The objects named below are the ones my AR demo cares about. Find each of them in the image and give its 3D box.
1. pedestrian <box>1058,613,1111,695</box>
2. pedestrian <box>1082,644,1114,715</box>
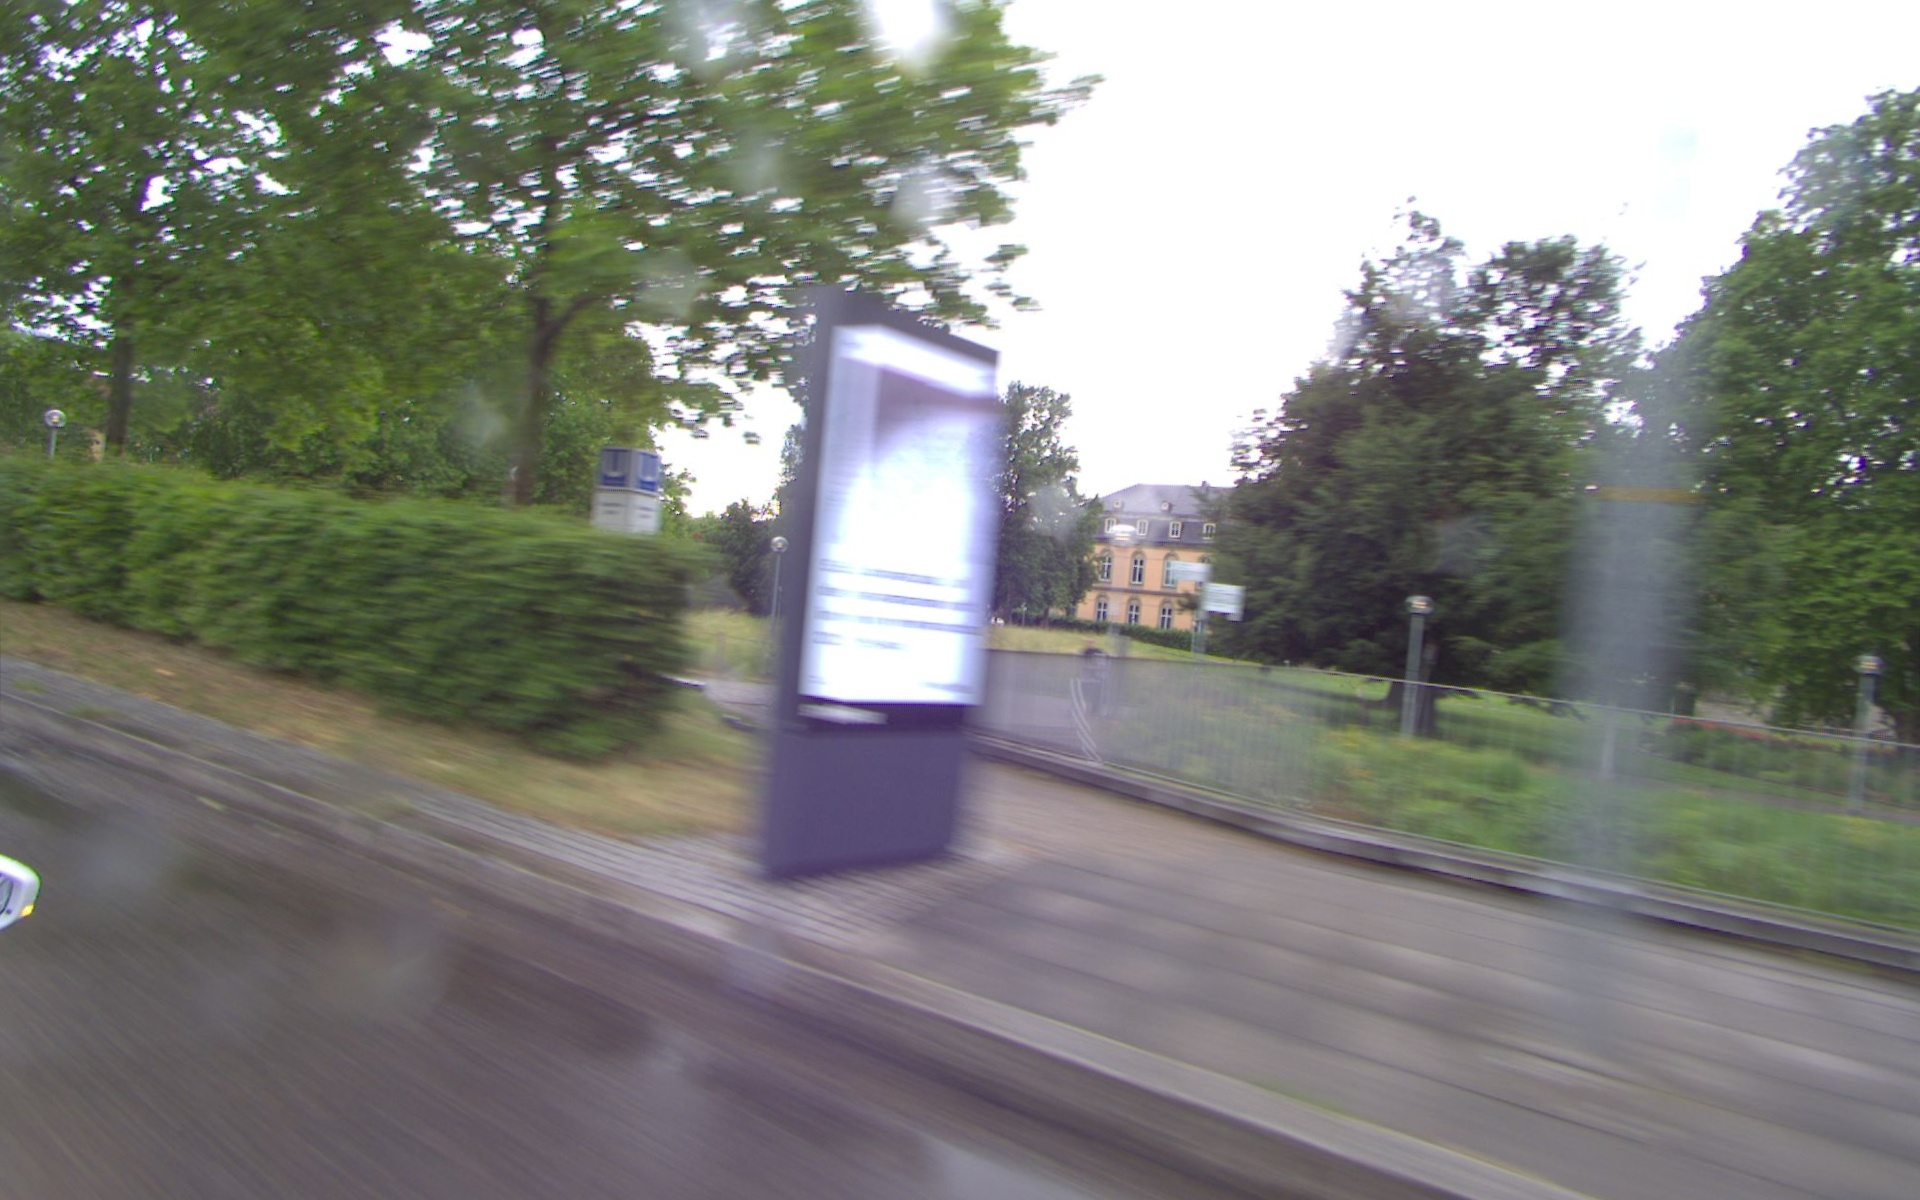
[{"bbox_3d":[2.682,1.153,21.779,0.817,1.661,0.726,6,-1,-9],"label":"pedestrian"},{"bbox_3d":[3.516,2.027,25.659,0.637,1.712,0.774,6,-1,8],"label":"pedestrian"}]
